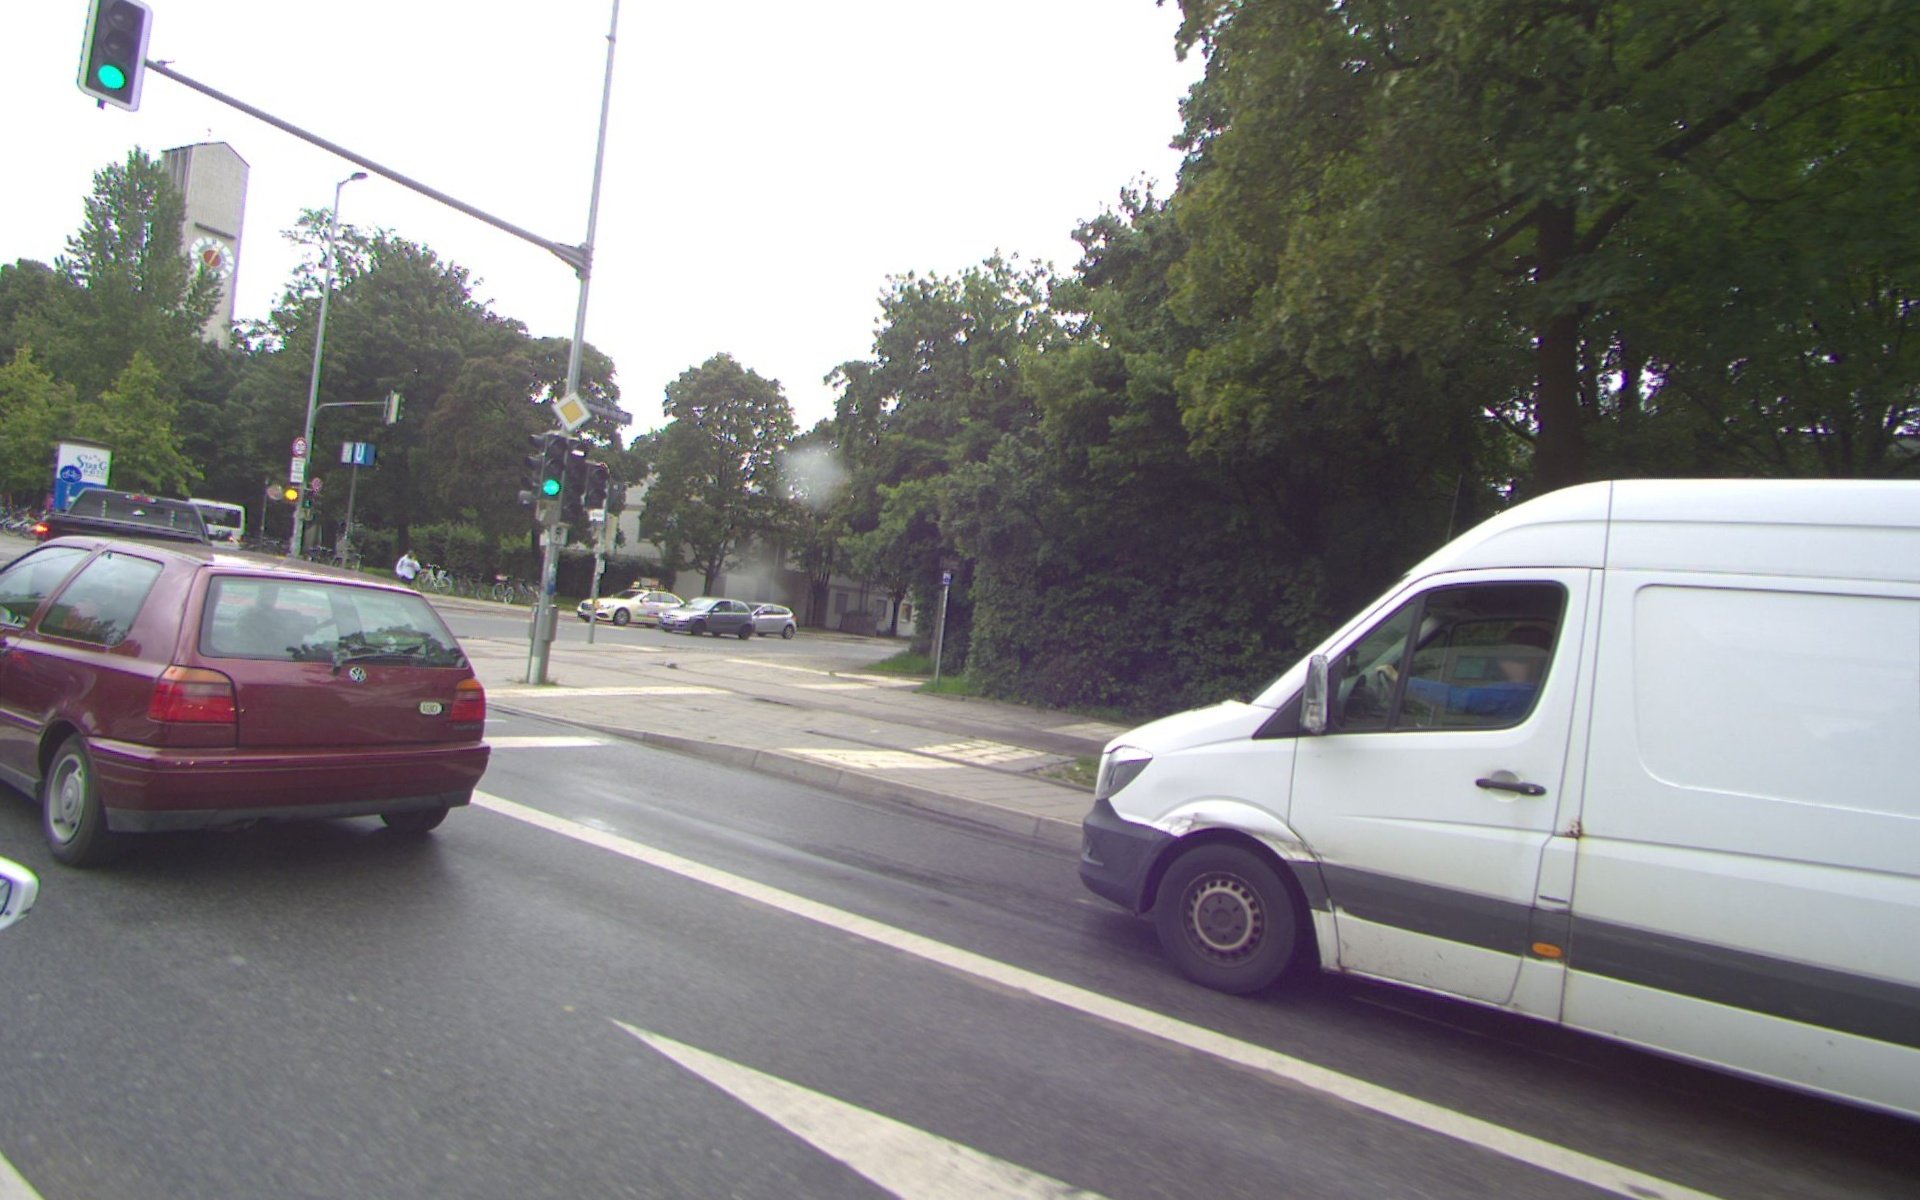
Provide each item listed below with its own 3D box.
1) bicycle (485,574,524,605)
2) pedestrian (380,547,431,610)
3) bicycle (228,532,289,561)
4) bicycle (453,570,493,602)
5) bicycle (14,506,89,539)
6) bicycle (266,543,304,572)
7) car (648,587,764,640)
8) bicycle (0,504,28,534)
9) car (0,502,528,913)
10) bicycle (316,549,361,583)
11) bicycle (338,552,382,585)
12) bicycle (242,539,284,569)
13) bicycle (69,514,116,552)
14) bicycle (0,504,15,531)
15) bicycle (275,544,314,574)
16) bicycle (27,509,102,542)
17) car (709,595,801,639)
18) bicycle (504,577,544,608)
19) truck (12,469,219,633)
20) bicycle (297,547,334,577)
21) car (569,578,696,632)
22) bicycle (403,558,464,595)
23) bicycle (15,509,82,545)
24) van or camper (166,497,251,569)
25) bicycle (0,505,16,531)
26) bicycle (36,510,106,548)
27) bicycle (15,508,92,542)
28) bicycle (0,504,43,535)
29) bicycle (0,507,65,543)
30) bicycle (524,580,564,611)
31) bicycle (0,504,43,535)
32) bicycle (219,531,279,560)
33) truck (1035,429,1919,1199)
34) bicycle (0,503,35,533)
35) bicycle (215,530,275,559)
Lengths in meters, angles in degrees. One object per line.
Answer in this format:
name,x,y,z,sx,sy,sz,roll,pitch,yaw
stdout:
bicycle,-19.126,-0.457,42.230,2.085,1.108,0.607,6,-1,42
pedestrian,-16.541,-0.634,30.011,0.922,1.723,0.762,7,0,23
bicycle,-33.831,-2.572,48.543,0.520,1.172,2.339,7,1,32
bicycle,-20.458,-0.597,42.252,2.084,1.108,0.607,6,-1,40
bicycle,-40.030,-3.399,44.346,0.575,1.172,2.339,7,1,32
bicycle,-29.816,-1.865,44.494,0.708,1.167,2.121,7,-1,-17
car,-9.125,0.529,36.401,1.600,1.471,3.943,7,-1,32
bicycle,-40.641,-3.470,42.075,0.575,1.172,2.339,7,1,32
car,-4.340,0.323,5.460,3.884,1.471,1.624,6,-1,32
bicycle,-25.838,-1.423,41.820,2.095,1.167,0.716,6,0,35
bicycle,-25.355,-1.330,42.485,2.095,1.167,0.697,6,0,35
bicycle,-31.169,-2.032,45.040,0.707,1.167,2.124,7,-1,-13
bicycle,-32.392,-2.505,37.545,1.969,1.213,0.861,6,1,37
bicycle,-44.656,-3.848,45.786,0.519,1.172,2.343,7,1,24
bicycle,-28.604,-1.748,43.284,0.708,1.167,2.121,7,-1,-17
bicycle,-39.065,-3.236,43.915,0.575,1.172,2.339,7,1,32
car,-8.849,0.760,43.715,1.600,1.471,3.945,7,-1,29
bicycle,-18.540,-0.311,42.753,2.084,1.108,0.607,6,-1,40
truck,-13.660,-0.806,16.555,2.089,2.038,5.752,7,-1,-38
bicycle,-27.848,-1.633,43.498,0.708,1.167,2.121,7,-1,-17
car,-12.213,0.231,37.755,1.855,1.515,4.310,7,-1,29
bicycle,-21.875,-0.971,41.827,2.074,1.266,0.704,7,0,6
bicycle,-35.392,-2.810,39.090,0.557,1.157,1.811,6,0,21
van or camper,-29.129,-2.600,38.909,2.133,2.324,6.130,7,-1,-40
bicycle,-45.284,-3.907,46.472,0.520,1.172,2.339,7,1,32
bicycle,-34.635,-2.753,39.231,0.557,1.227,1.945,6,0,21
bicycle,-38.811,-3.217,43.114,0.575,1.172,2.339,7,1,32
bicycle,-41.677,-3.568,43.897,0.520,1.172,2.339,7,1,32
bicycle,-36.619,-2.954,39.711,0.559,1.157,1.803,7,1,41
bicycle,-17.794,-0.197,42.983,2.084,1.108,0.607,6,-1,40
bicycle,-42.058,-3.594,44.310,0.520,1.172,2.339,7,1,32
bicycle,-34.769,-2.674,49.218,0.520,1.172,2.339,7,1,32
truck,4.068,0.857,4.226,7.106,2.634,1.997,6,-1,31
bicycle,-42.570,-3.687,44.498,0.520,1.172,2.339,7,1,32
bicycle,-35.277,-2.725,49.684,0.520,1.172,2.339,7,1,32
